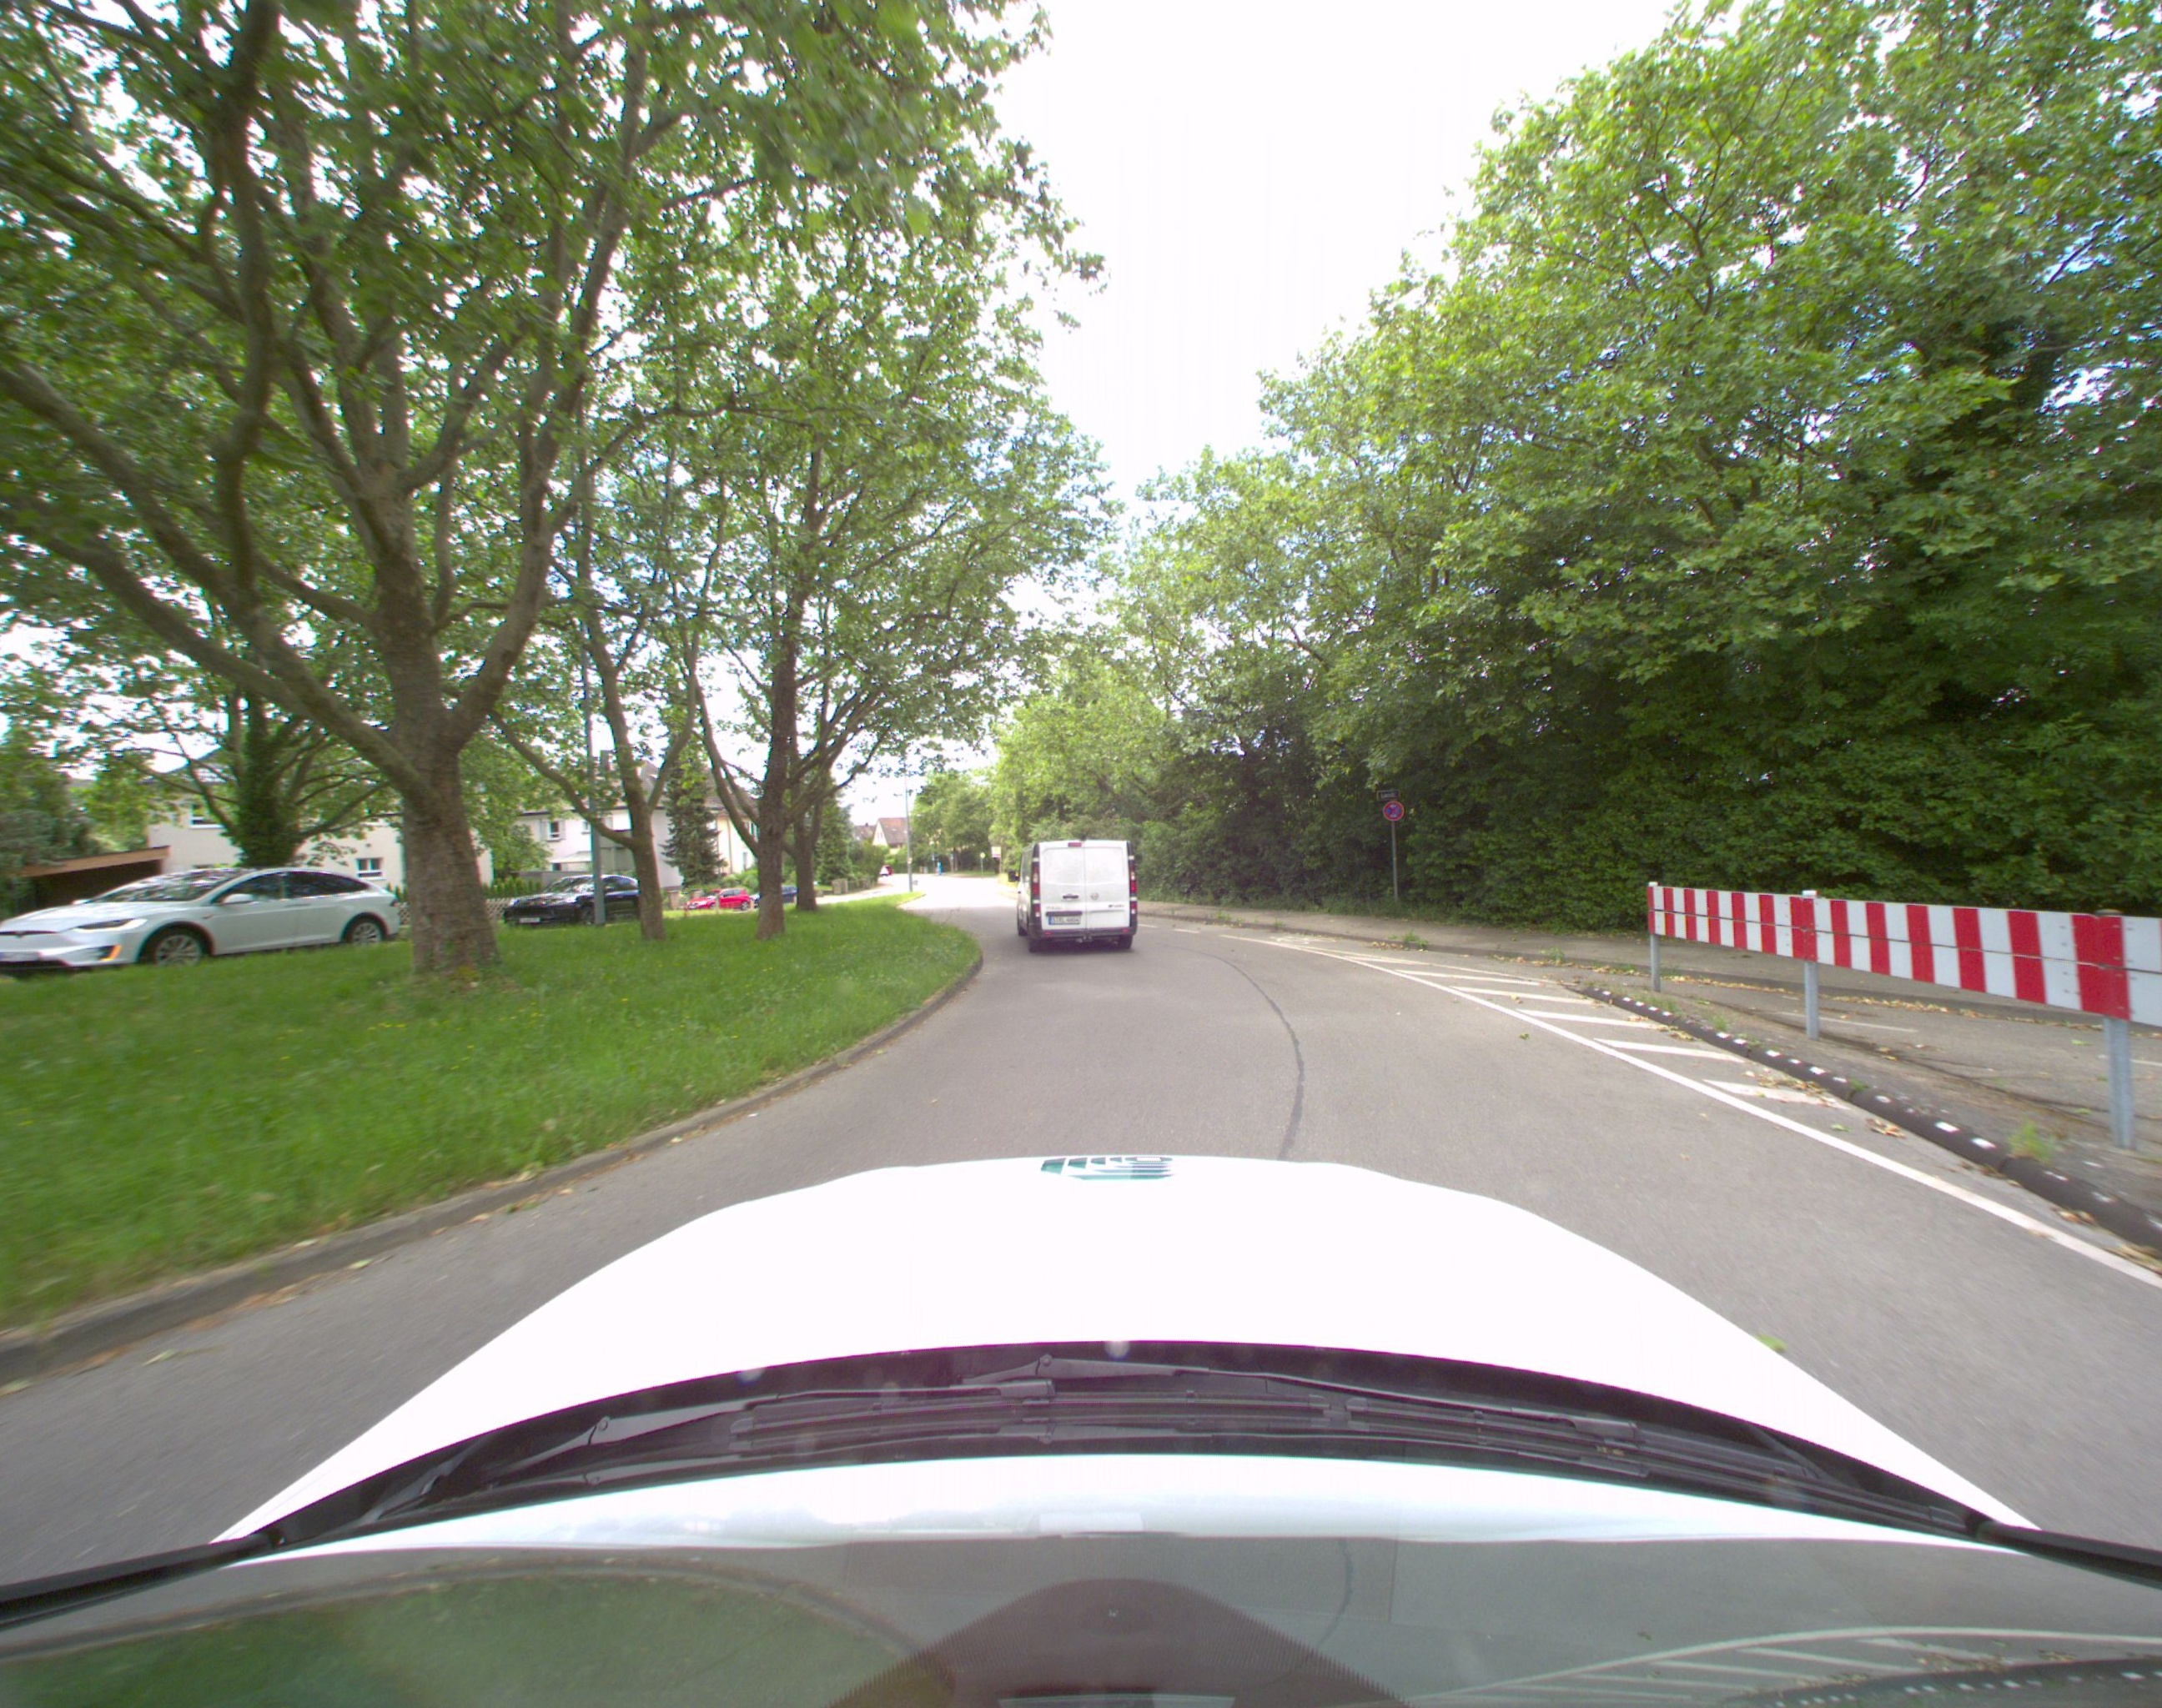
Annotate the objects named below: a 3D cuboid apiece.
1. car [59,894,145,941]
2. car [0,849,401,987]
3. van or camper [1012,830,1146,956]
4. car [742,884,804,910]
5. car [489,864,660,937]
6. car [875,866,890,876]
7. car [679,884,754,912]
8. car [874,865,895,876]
[{"bbox_3d":[-40.001,2.555,33.363,1.887,1.547,3.338,-4,2,-45],"label":"car"},{"bbox_3d":[-13.834,0.824,12.960,1.846,1.658,4.905,-2,1,-1],"label":"car"},{"bbox_3d":[-0.225,0.588,15.896,1.923,2.013,4.816,-2,1,-8],"label":"van or camper"},{"bbox_3d":[-21.093,2.915,55.989,1.714,1.474,4.333,-3,-1,16],"label":"car"},{"bbox_3d":[-13.645,1.179,22.338,1.751,1.591,4.612,-2,1,-1],"label":"car"},{"bbox_3d":[-32.997,2.861,135.185,1.736,1.474,3.352,-2,-1,-26],"label":"car"},{"bbox_3d":[-22.811,2.720,51.132,1.712,1.474,4.301,-3,-1,21],"label":"car"},{"bbox_3d":[-34.764,2.972,143.983,1.774,1.797,4.896,-3,0,-34],"label":"car"}]
